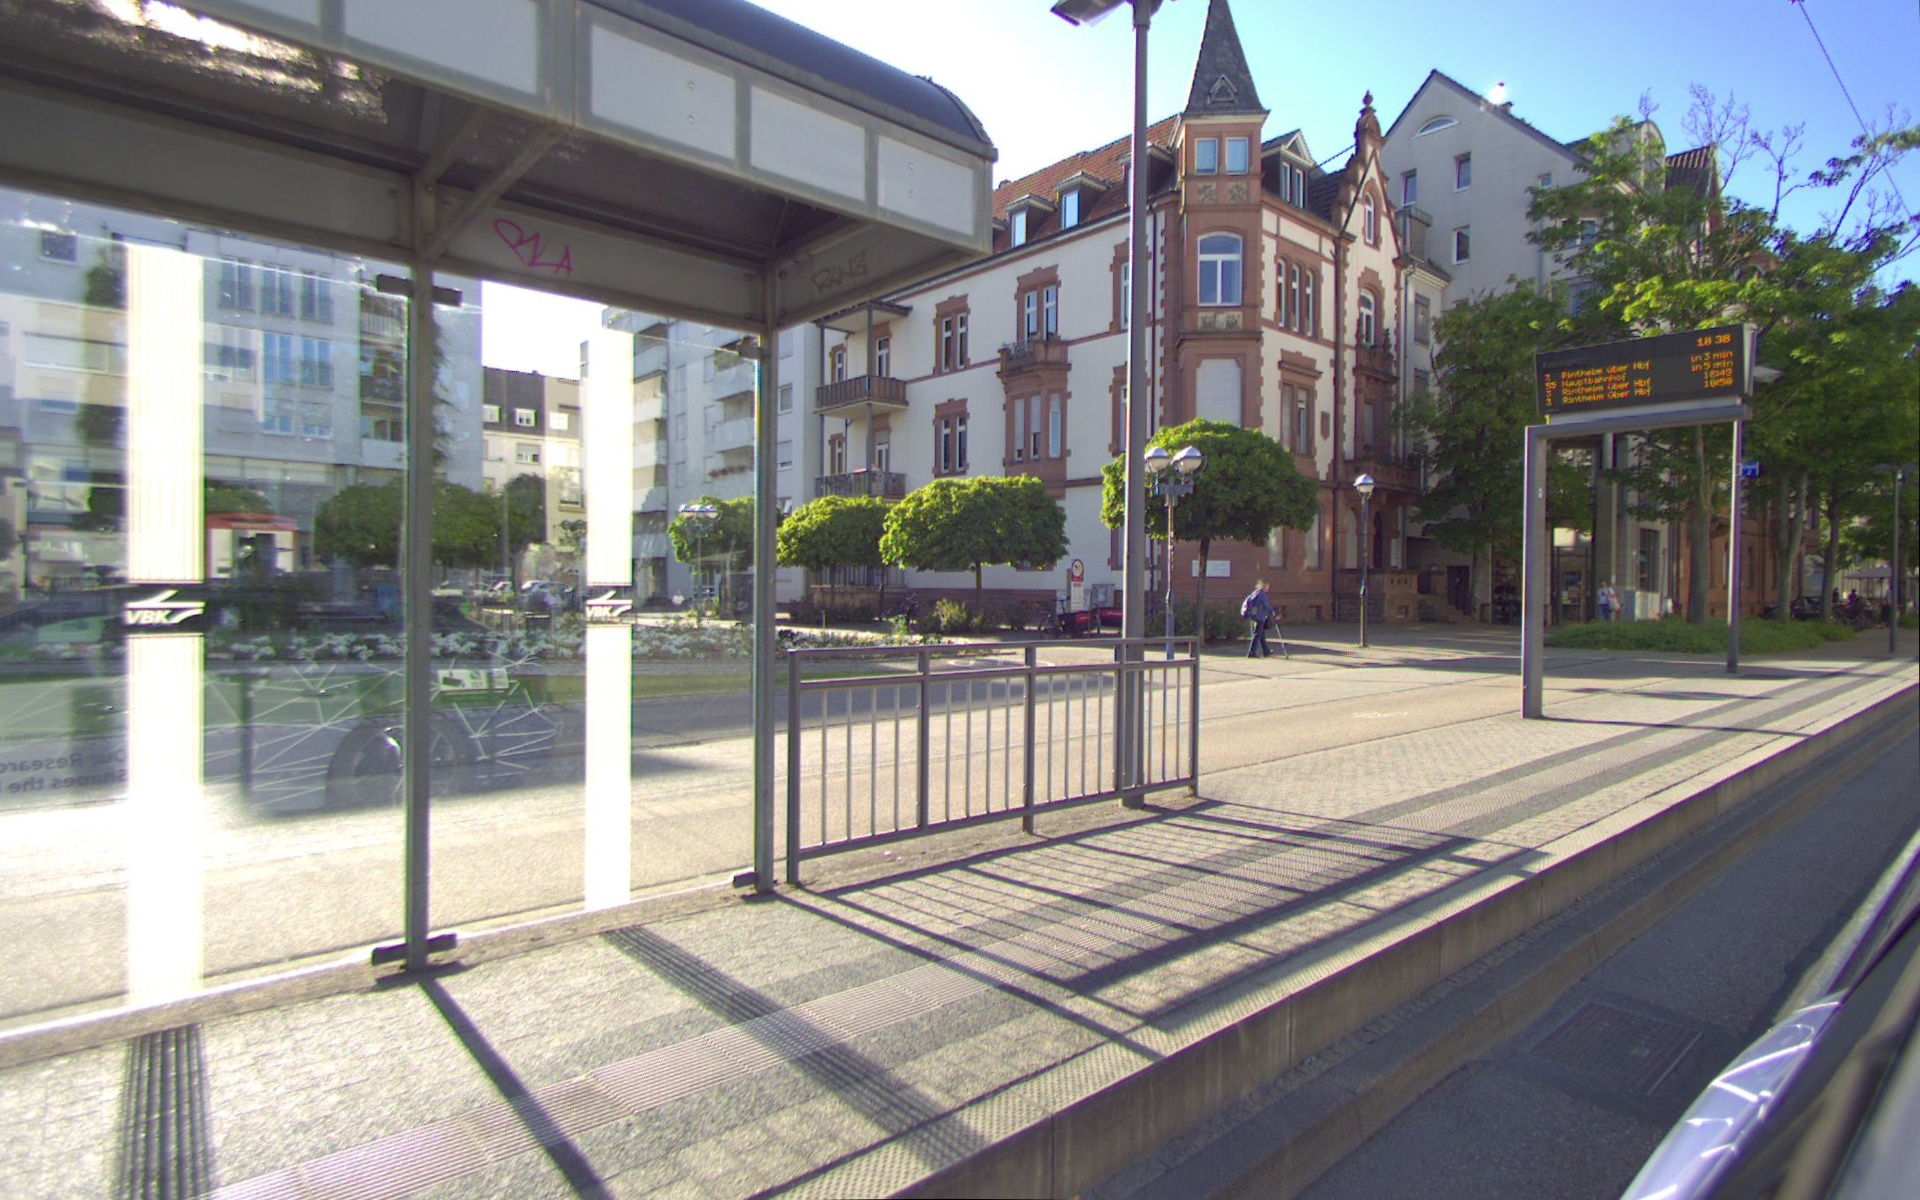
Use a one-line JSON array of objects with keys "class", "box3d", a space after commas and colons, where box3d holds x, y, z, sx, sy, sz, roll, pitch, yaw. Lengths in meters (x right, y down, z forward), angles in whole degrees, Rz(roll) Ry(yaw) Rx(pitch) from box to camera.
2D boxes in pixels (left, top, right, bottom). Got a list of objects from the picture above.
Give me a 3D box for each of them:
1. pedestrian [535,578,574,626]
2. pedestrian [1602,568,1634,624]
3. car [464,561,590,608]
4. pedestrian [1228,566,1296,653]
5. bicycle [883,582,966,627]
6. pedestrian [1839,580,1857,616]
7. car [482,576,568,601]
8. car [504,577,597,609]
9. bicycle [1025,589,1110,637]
[{"class": "pedestrian", "box3d": [-12.539, 0.043, 31.269, 0.917, 1.429, 1.529, 0, 1, -30]}, {"class": "pedestrian", "box3d": [21.199, -0.130, 32.595, 0.740, 1.757, 0.864, 1, 1, 43]}, {"class": "car", "box3d": [-25.491, -0.919, 59.739, 2.807, 2.587, 6.293, 1, 1, 45]}, {"class": "pedestrian", "box3d": [6.083, 0.168, 20.368, 1.064, 1.689, 0.944, 1, 1, 37]}, {"class": "bicycle", "box3d": [-1.132, 0.118, 32.771, 2.864, 1.389, 0.745, 0, 1, -41]}, {"class": "pedestrian", "box3d": [51.812, -0.118, 59.053, 0.549, 2.039, 0.654, 0, 1, -38]}, {"class": "car", "box3d": [-23.193, -0.626, 53.979, 3.923, 1.304, 2.001, 0, 1, -34]}, {"class": "car", "box3d": [-20.166, -0.366, 49.870, 3.923, 1.536, 2.001, 0, 1, -34]}, {"class": "bicycle", "box3d": [2.812, 0.305, 26.110, 0.786, 1.081, 2.768, 1, 3, 40]}]
